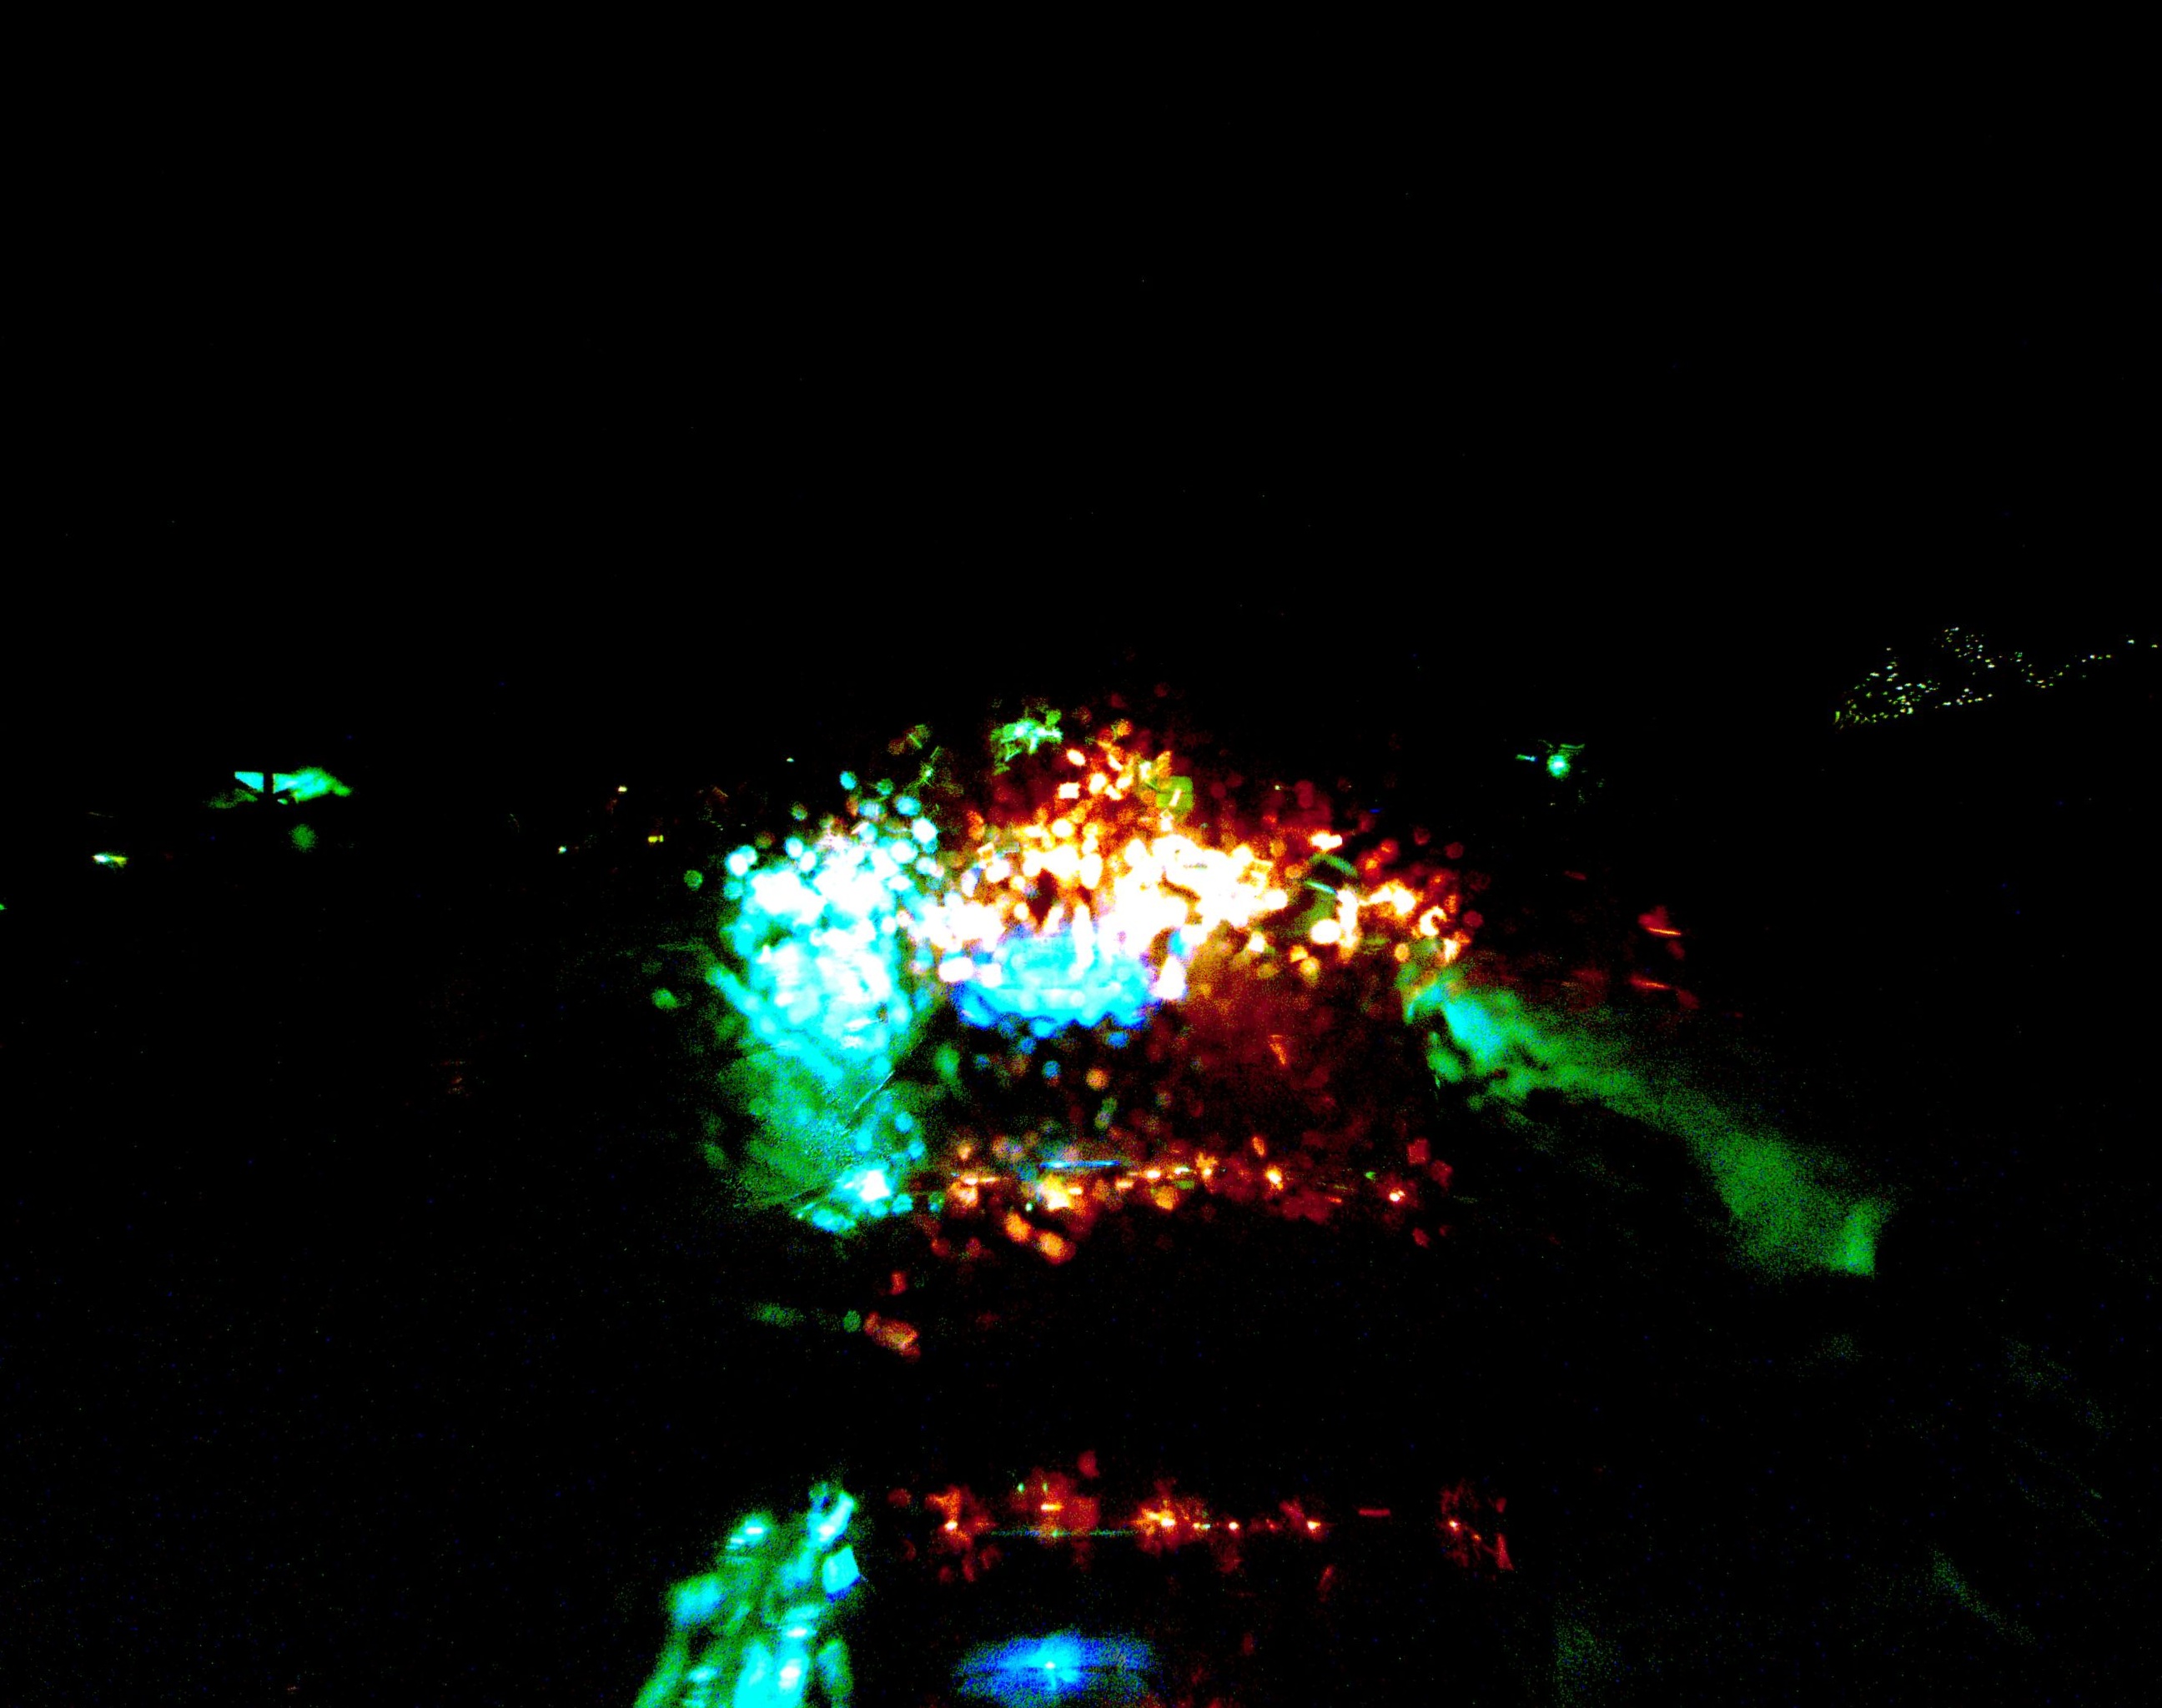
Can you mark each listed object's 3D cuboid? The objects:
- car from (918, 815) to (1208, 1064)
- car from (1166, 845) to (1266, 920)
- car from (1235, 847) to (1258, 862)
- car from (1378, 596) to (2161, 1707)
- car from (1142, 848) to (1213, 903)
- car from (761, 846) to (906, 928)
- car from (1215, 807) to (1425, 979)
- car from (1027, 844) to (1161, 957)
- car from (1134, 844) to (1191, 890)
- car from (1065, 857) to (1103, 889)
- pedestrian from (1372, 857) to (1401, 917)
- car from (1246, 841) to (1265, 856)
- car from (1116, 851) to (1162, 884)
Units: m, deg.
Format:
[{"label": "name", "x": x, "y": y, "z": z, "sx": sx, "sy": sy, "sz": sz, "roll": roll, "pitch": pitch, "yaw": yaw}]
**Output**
[{"label": "car", "x": -0.125, "y": 0.608, "z": 7.886, "sx": 2.008, "sy": 1.717, "sz": 4.450, "roll": 0, "pitch": -1, "yaw": 0}, {"label": "car", "x": 3.283, "y": 0.669, "z": 20.593, "sx": 1.986, "sy": 1.718, "sz": 4.001, "roll": 0, "pitch": -1, "yaw": 2}, {"label": "car", "x": 19.087, "y": 0.061, "z": 94.060, "sx": 1.857, "sy": 1.646, "sz": 3.965, "roll": -3, "pitch": -1, "yaw": 2}, {"label": "car", "x": 2.775, "y": 0.512, "z": 3.048, "sx": 1.845, "sy": 1.865, "sz": 4.342, "roll": 0, "pitch": -1, "yaw": 2}, {"label": "car", "x": 3.125, "y": 0.675, "z": 27.141, "sx": 1.986, "sy": 1.670, "sz": 4.001, "roll": 0, "pitch": -1, "yaw": 2}, {"label": "car", "x": -5.477, "y": 0.650, "z": 18.686, "sx": 1.881, "sy": 1.568, "sz": 4.486, "roll": -1, "pitch": 1, "yaw": 0}, {"label": "car", "x": 3.176, "y": 0.479, "z": 11.721, "sx": 1.961, "sy": 2.047, "sz": 4.001, "roll": 0, "pitch": -1, "yaw": 2}, {"label": "car", "x": 0.249, "y": 0.708, "z": 14.144, "sx": 1.986, "sy": 1.684, "sz": 4.001, "roll": 0, "pitch": -1, "yaw": 2}, {"label": "car", "x": 3.288, "y": 0.536, "z": 33.561, "sx": 1.987, "sy": 1.773, "sz": 4.000, "roll": 0, "pitch": -1, "yaw": 0}, {"label": "car", "x": 0.136, "y": 1.080, "z": 48.114, "sx": 1.989, "sy": 1.824, "sz": 3.995, "roll": 0, "pitch": -1, "yaw": -3}, {"label": "pedestrian", "x": 8.755, "y": 0.937, "z": 23.349, "sx": 0.621, "sy": 1.701, "sz": 0.541, "roll": 0, "pitch": -1, "yaw": -1}, {"label": "car", "x": 24.635, "y": -0.813, "z": 115.078, "sx": 1.986, "sy": 2.014, "sz": 4.001, "roll": 0, "pitch": -1, "yaw": 2}, {"label": "car", "x": 2.838, "y": 0.647, "z": 40.654, "sx": 1.853, "sy": 1.544, "sz": 3.926, "roll": 0, "pitch": -1, "yaw": -2}]
